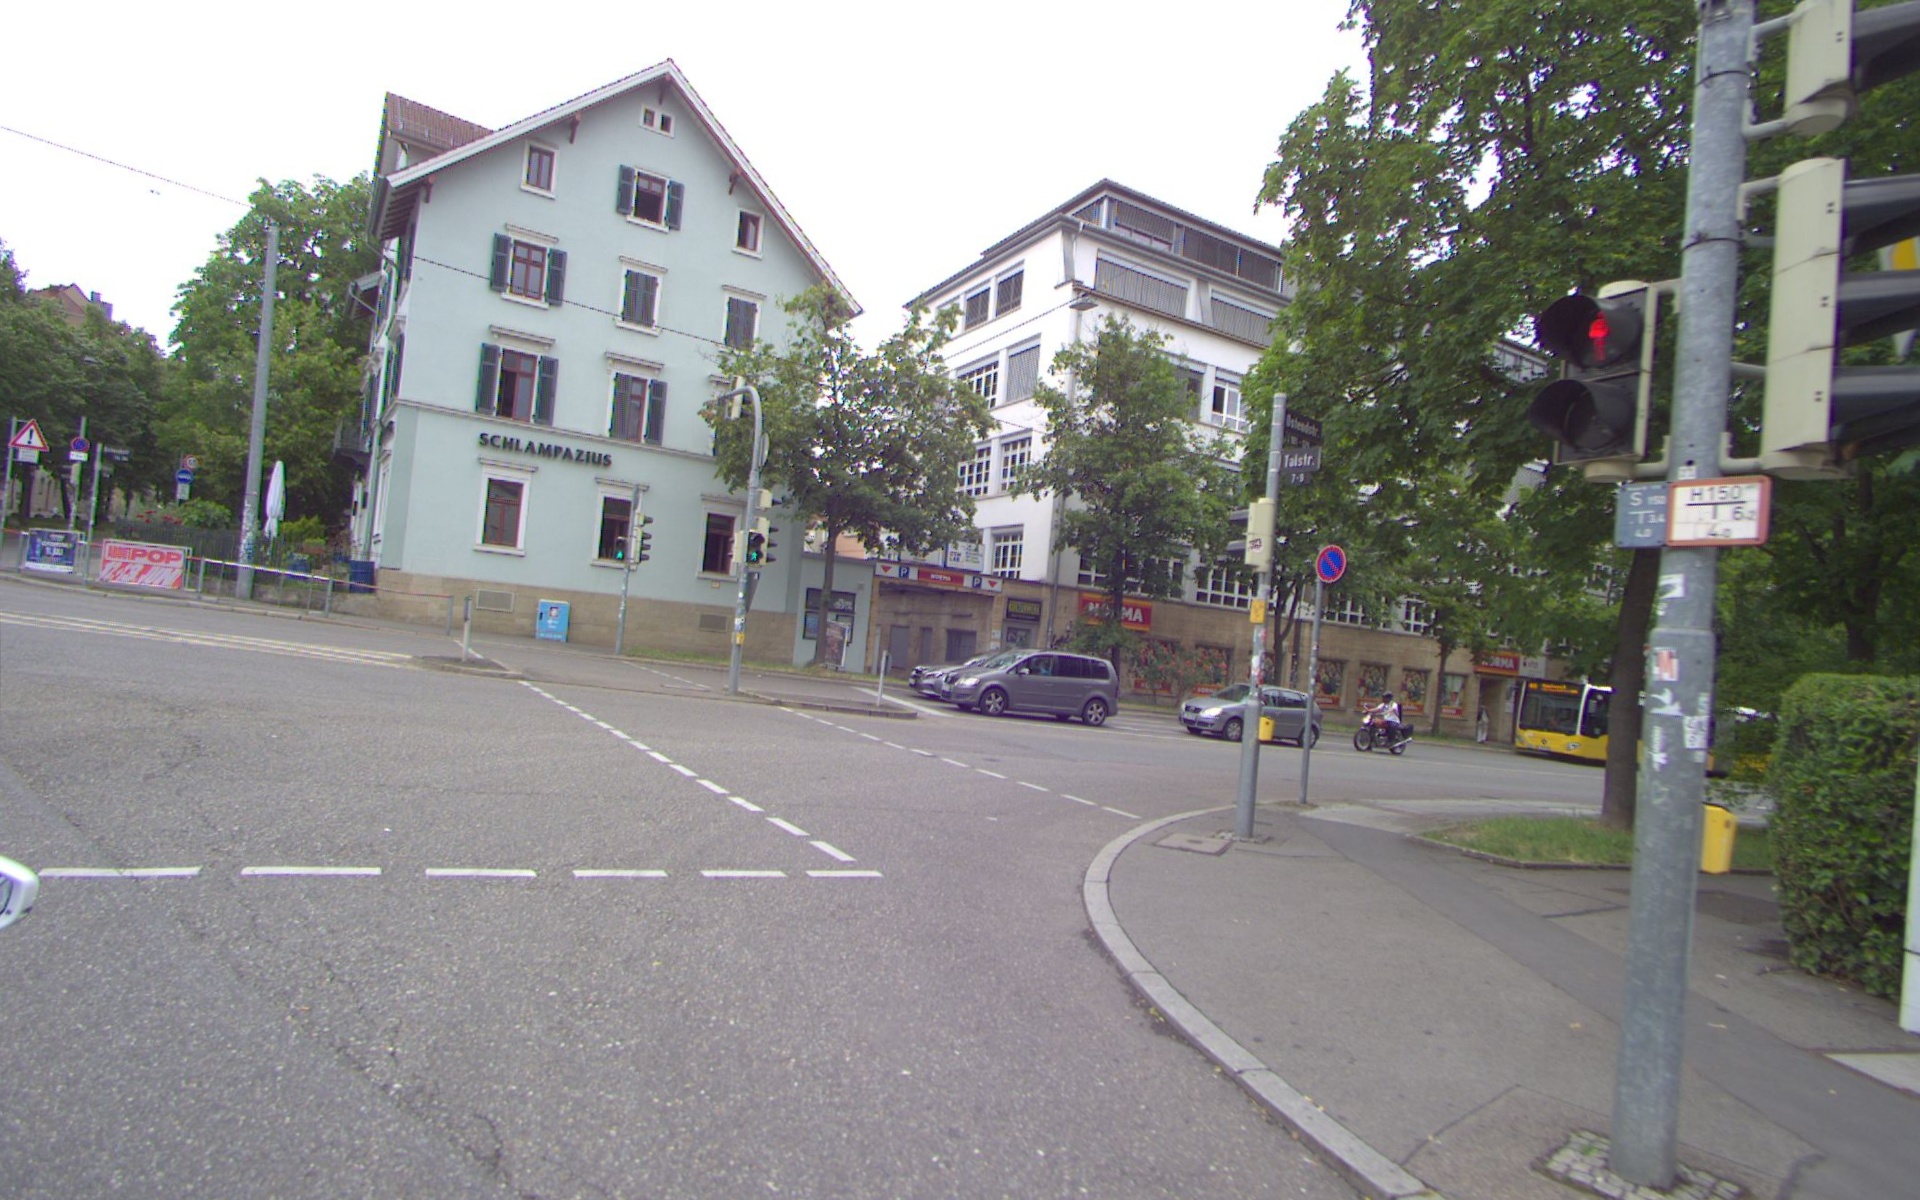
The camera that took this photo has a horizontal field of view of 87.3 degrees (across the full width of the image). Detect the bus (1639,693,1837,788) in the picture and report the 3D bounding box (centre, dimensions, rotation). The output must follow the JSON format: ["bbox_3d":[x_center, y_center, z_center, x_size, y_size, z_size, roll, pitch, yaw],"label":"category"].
[{"bbox_3d":[34.664,6.303,44.630,10.813,3.084,2.859,9,-2,-30],"label":"bus"}]

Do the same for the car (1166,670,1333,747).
[{"bbox_3d":[7.342,2.752,25.514,3.742,1.438,1.657,8,-2,-22],"label":"car"}]

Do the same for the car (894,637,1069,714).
[{"bbox_3d":[0.557,1.983,26.368,4.143,1.440,1.702,8,-2,-22],"label":"car"}]

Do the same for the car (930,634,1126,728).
[{"bbox_3d":[1.589,1.889,23.594,4.143,1.657,1.703,8,-3,-22],"label":"car"}]

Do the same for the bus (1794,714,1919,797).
[{"bbox_3d":[48.727,8.333,52.645,12.699,3.380,3.420,9,-2,-30],"label":"bus"}]

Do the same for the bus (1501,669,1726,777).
[{"bbox_3d":[25.847,4.896,39.585,10.290,3.144,2.843,9,-2,-30],"label":"bus"}]

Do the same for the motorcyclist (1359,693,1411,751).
[{"bbox_3d":[11.658,3.350,27.578,0.998,1.434,0.704,8,-1,-28],"label":"motorcyclist"}]

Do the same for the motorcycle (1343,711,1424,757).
[{"bbox_3d":[11.622,3.681,27.572,2.371,0.998,0.634,9,-2,-28],"label":"motorcycle"}]
